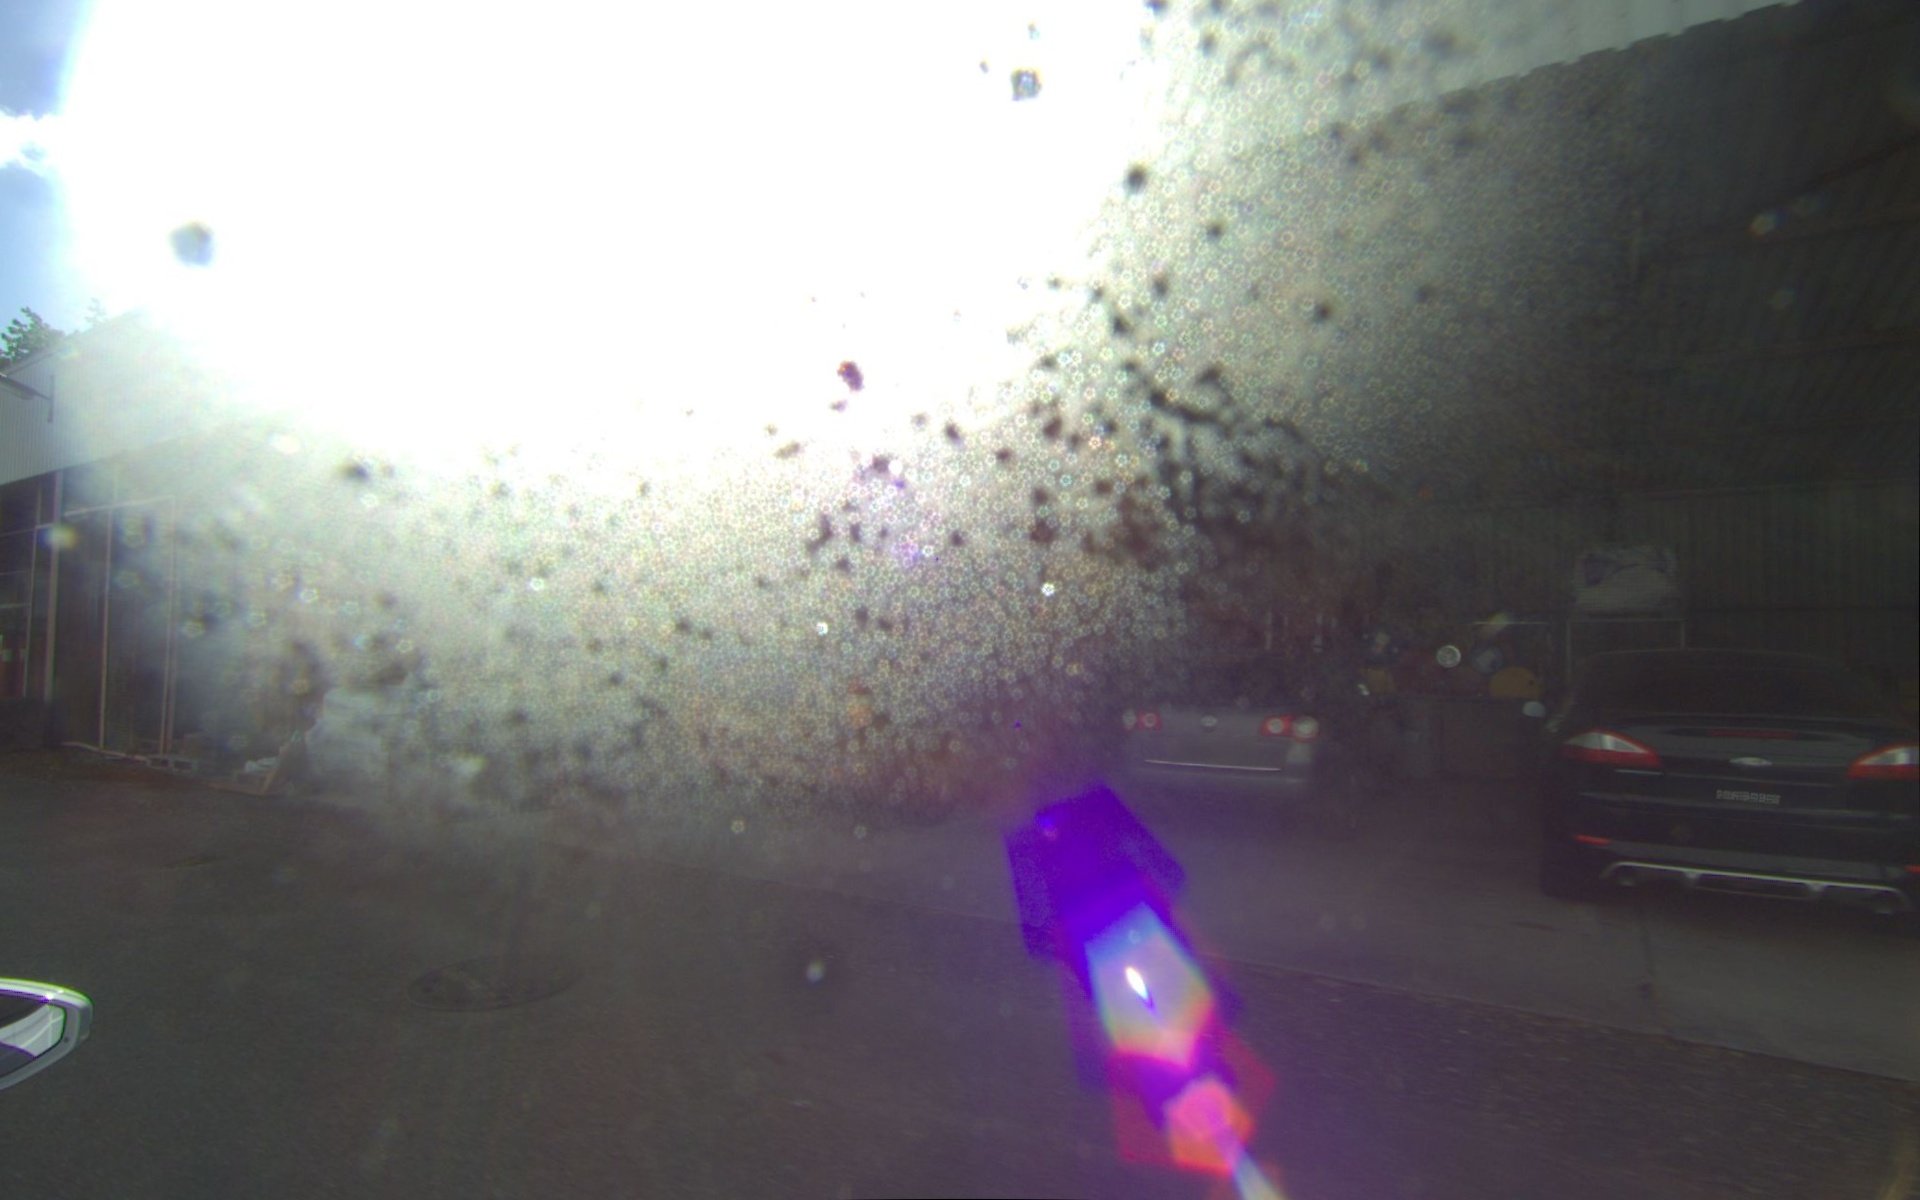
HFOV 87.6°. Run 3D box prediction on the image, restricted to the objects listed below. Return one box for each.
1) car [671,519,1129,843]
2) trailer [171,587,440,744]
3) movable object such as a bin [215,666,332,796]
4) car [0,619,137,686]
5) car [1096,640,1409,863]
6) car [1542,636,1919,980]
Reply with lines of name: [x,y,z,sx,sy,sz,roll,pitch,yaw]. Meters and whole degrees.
car: [-0.235,0.737,9.933,1.972,2.354,4.972,-1,-3,33]
trailer: [-9.989,0.949,15.231,4.040,2.084,1.853,-1,-3,32]
movable object such as a bin: [-6.836,1.260,9.960,1.222,1.179,0.580,-1,-2,37]
car: [-27.607,1.527,29.173,1.968,1.899,5.239,0,-3,27]
car: [2.801,1.138,8.914,1.762,1.491,3.984,-1,-3,31]
car: [4.858,1.038,6.592,1.751,1.514,4.326,-1,-3,30]
